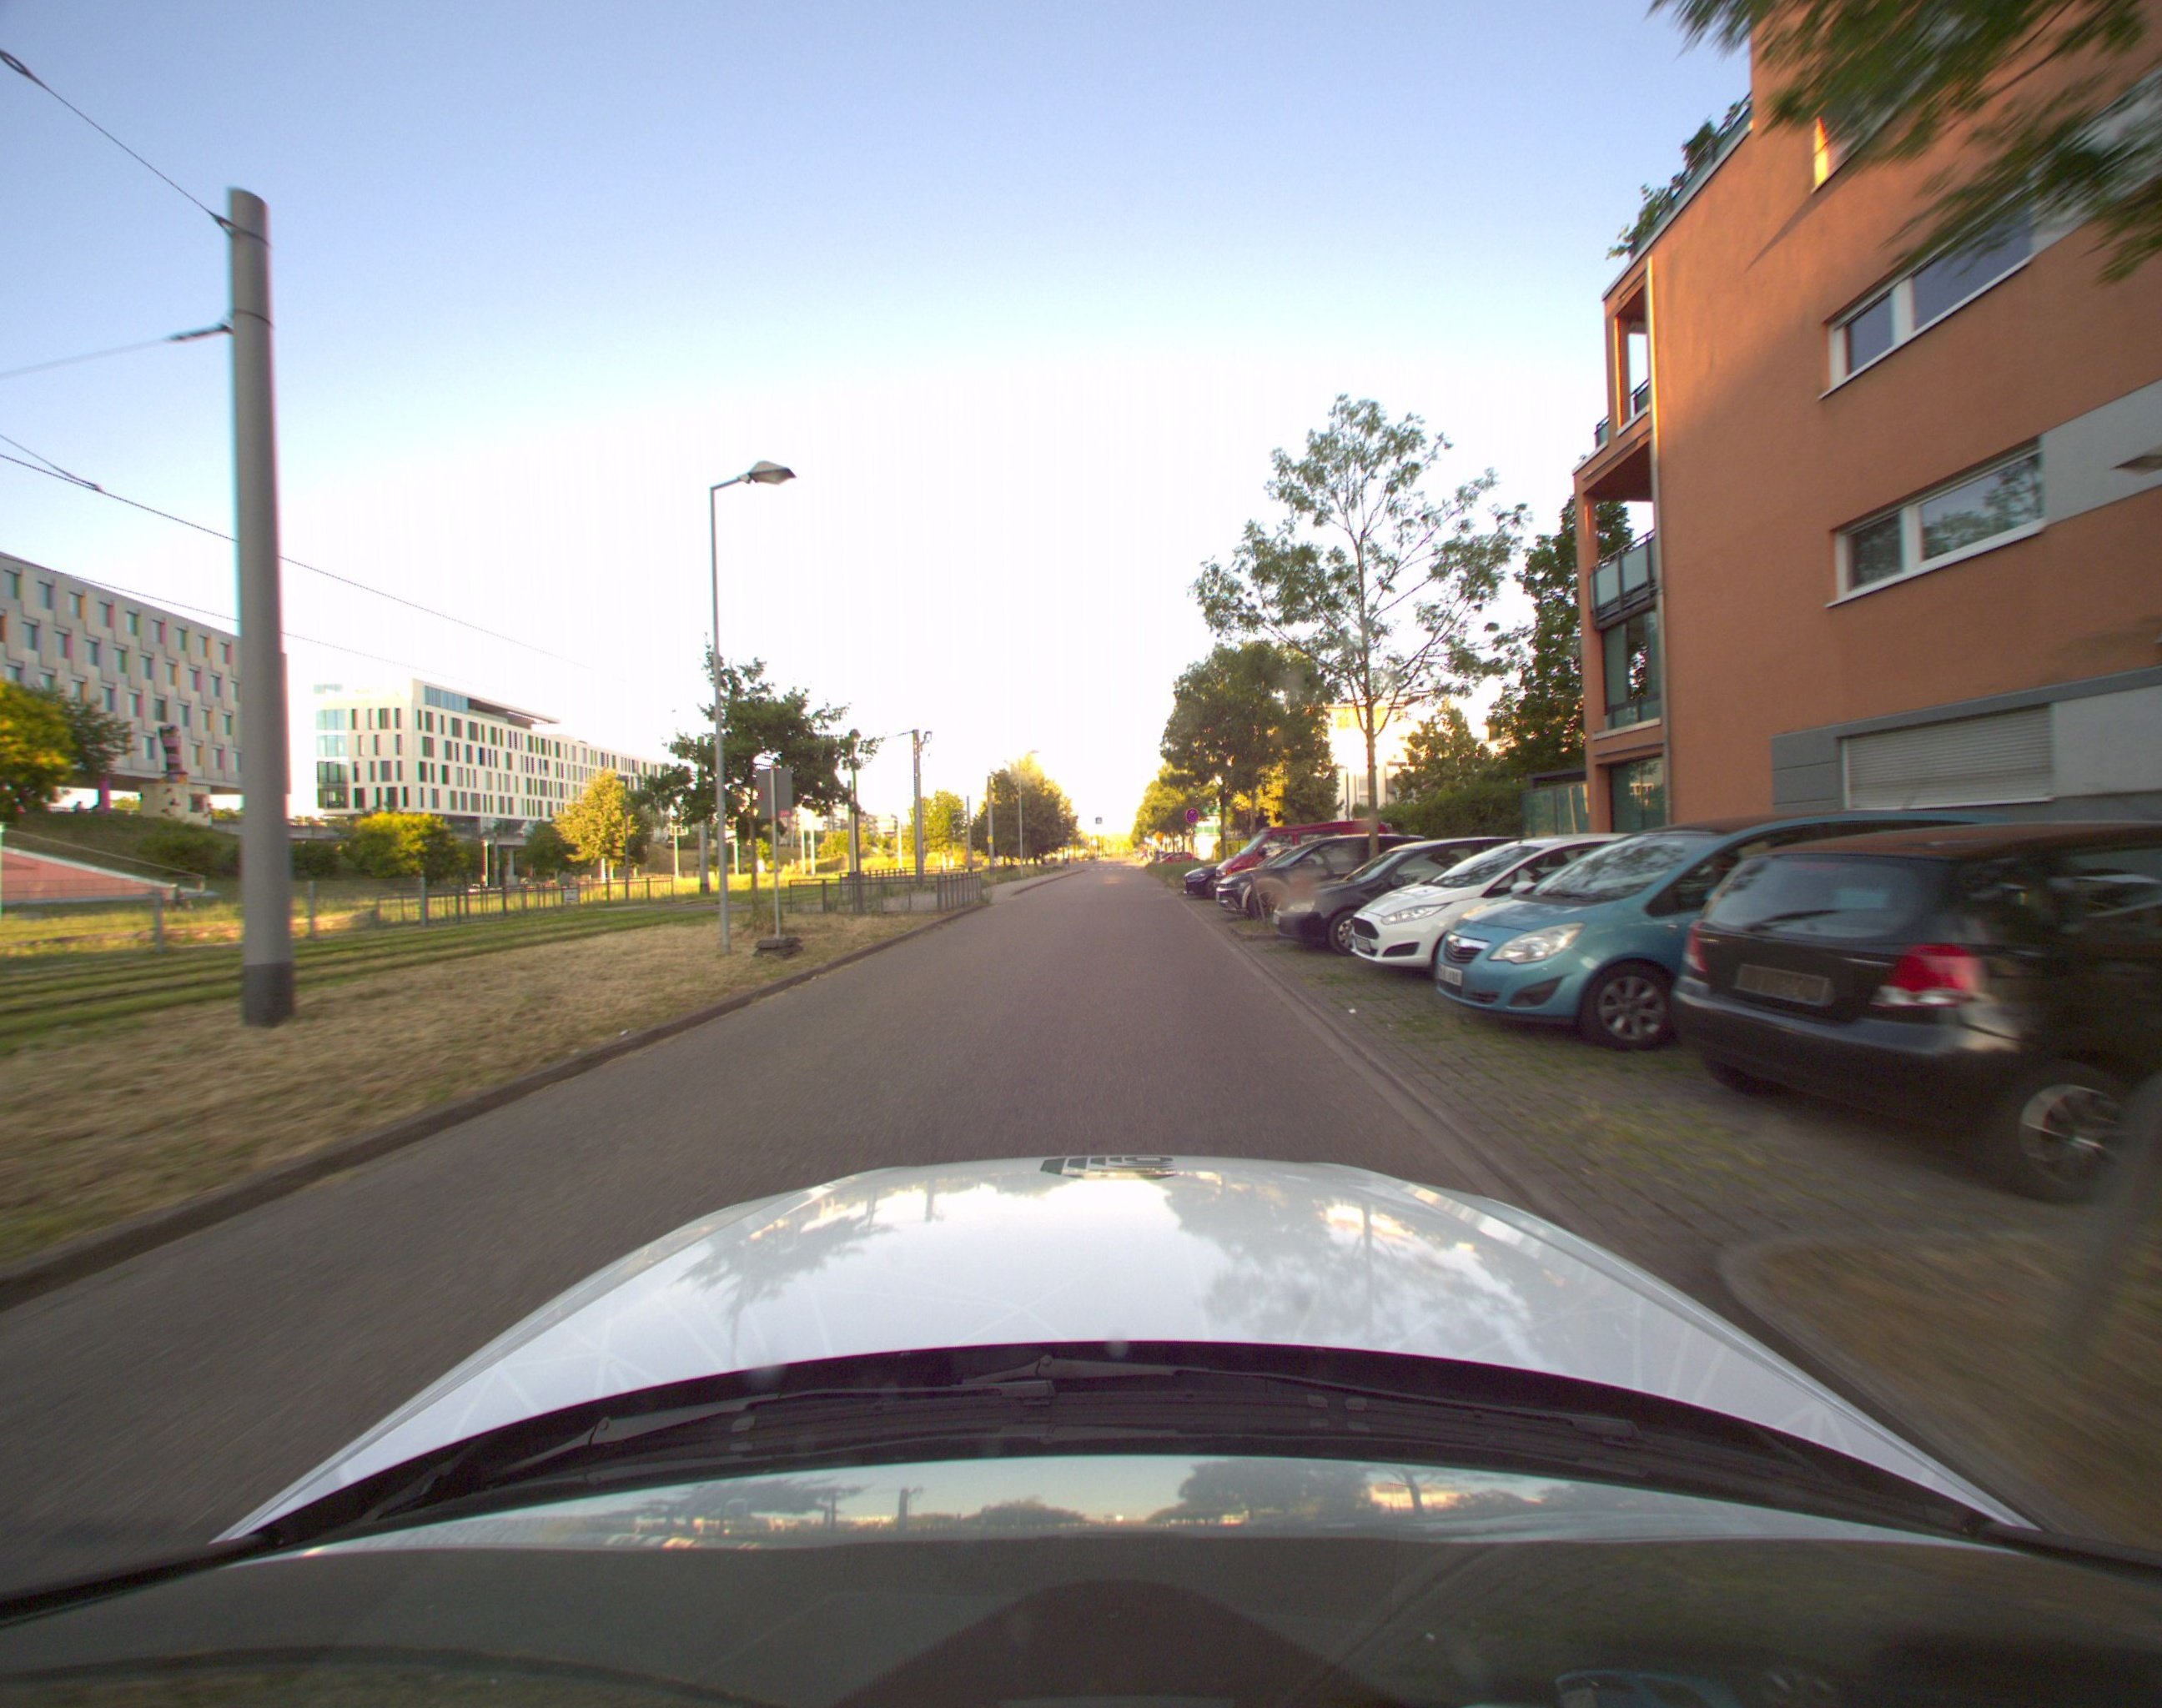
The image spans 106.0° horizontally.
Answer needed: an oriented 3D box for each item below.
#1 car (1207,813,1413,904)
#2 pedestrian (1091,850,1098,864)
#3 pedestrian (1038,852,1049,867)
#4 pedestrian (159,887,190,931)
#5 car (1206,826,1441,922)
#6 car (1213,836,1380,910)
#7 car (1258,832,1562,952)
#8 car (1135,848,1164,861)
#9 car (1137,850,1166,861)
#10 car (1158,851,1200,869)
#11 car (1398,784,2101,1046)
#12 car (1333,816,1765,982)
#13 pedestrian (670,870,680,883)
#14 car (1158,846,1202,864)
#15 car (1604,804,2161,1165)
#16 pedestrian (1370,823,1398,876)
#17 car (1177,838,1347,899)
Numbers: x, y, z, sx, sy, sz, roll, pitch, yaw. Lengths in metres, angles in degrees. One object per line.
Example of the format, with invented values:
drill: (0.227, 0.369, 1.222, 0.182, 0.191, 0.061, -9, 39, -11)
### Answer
car: (5.936, 0.123, 21.615, 4.898, 2.117, 2.019, -2, 0, 4)
pedestrian: (1.976, 0.429, 116.621, 0.841, 2.013, 0.946, -2, 0, 8)
pedestrian: (-4.307, 0.643, 93.236, 1.019, 1.693, 0.757, -2, 0, -11)
pedestrian: (-44.072, 2.677, 39.607, 0.614, 2.082, 0.791, 0, 0, 2)
car: (4.792, 0.389, 16.550, 4.198, 1.569, 1.794, -4, 0, 3)
car: (5.039, 0.439, 19.387, 3.511, 1.465, 1.617, -4, 0, 3)
car: (4.600, 0.517, 11.784, 3.758, 1.495, 1.540, -2, 0, 2)
car: (12.491, 0.066, 148.780, 4.990, 2.045, 2.249, -2, 0, -2)
car: (10.864, 0.234, 125.504, 4.465, 1.596, 2.002, -2, 0, 4)
car: (9.336, 0.542, 77.806, 3.789, 1.508, 1.679, -2, 0, 1)
car: (4.867, 0.426, 6.411, 4.034, 1.569, 1.674, -3, 0, 2)
car: (5.010, 0.467, 9.123, 3.861, 1.569, 1.621, -2, 0, 3)
pedestrian: (-55.603, 3.049, 111.534, 0.783, 1.786, 0.815, -2, -1, 6)
car: (9.116, 0.078, 75.038, 3.789, 1.508, 1.679, -2, 0, 1)
car: (5.131, 0.504, 4.291, 3.739, 1.473, 1.612, -2, 0, -2)
pedestrian: (10.209, -0.164, 27.463, 0.666, 1.743, 0.700, -2, 0, 2)
car: (5.261, 0.415, 24.108, 4.650, 1.556, 1.813, -2, 0, 3)
